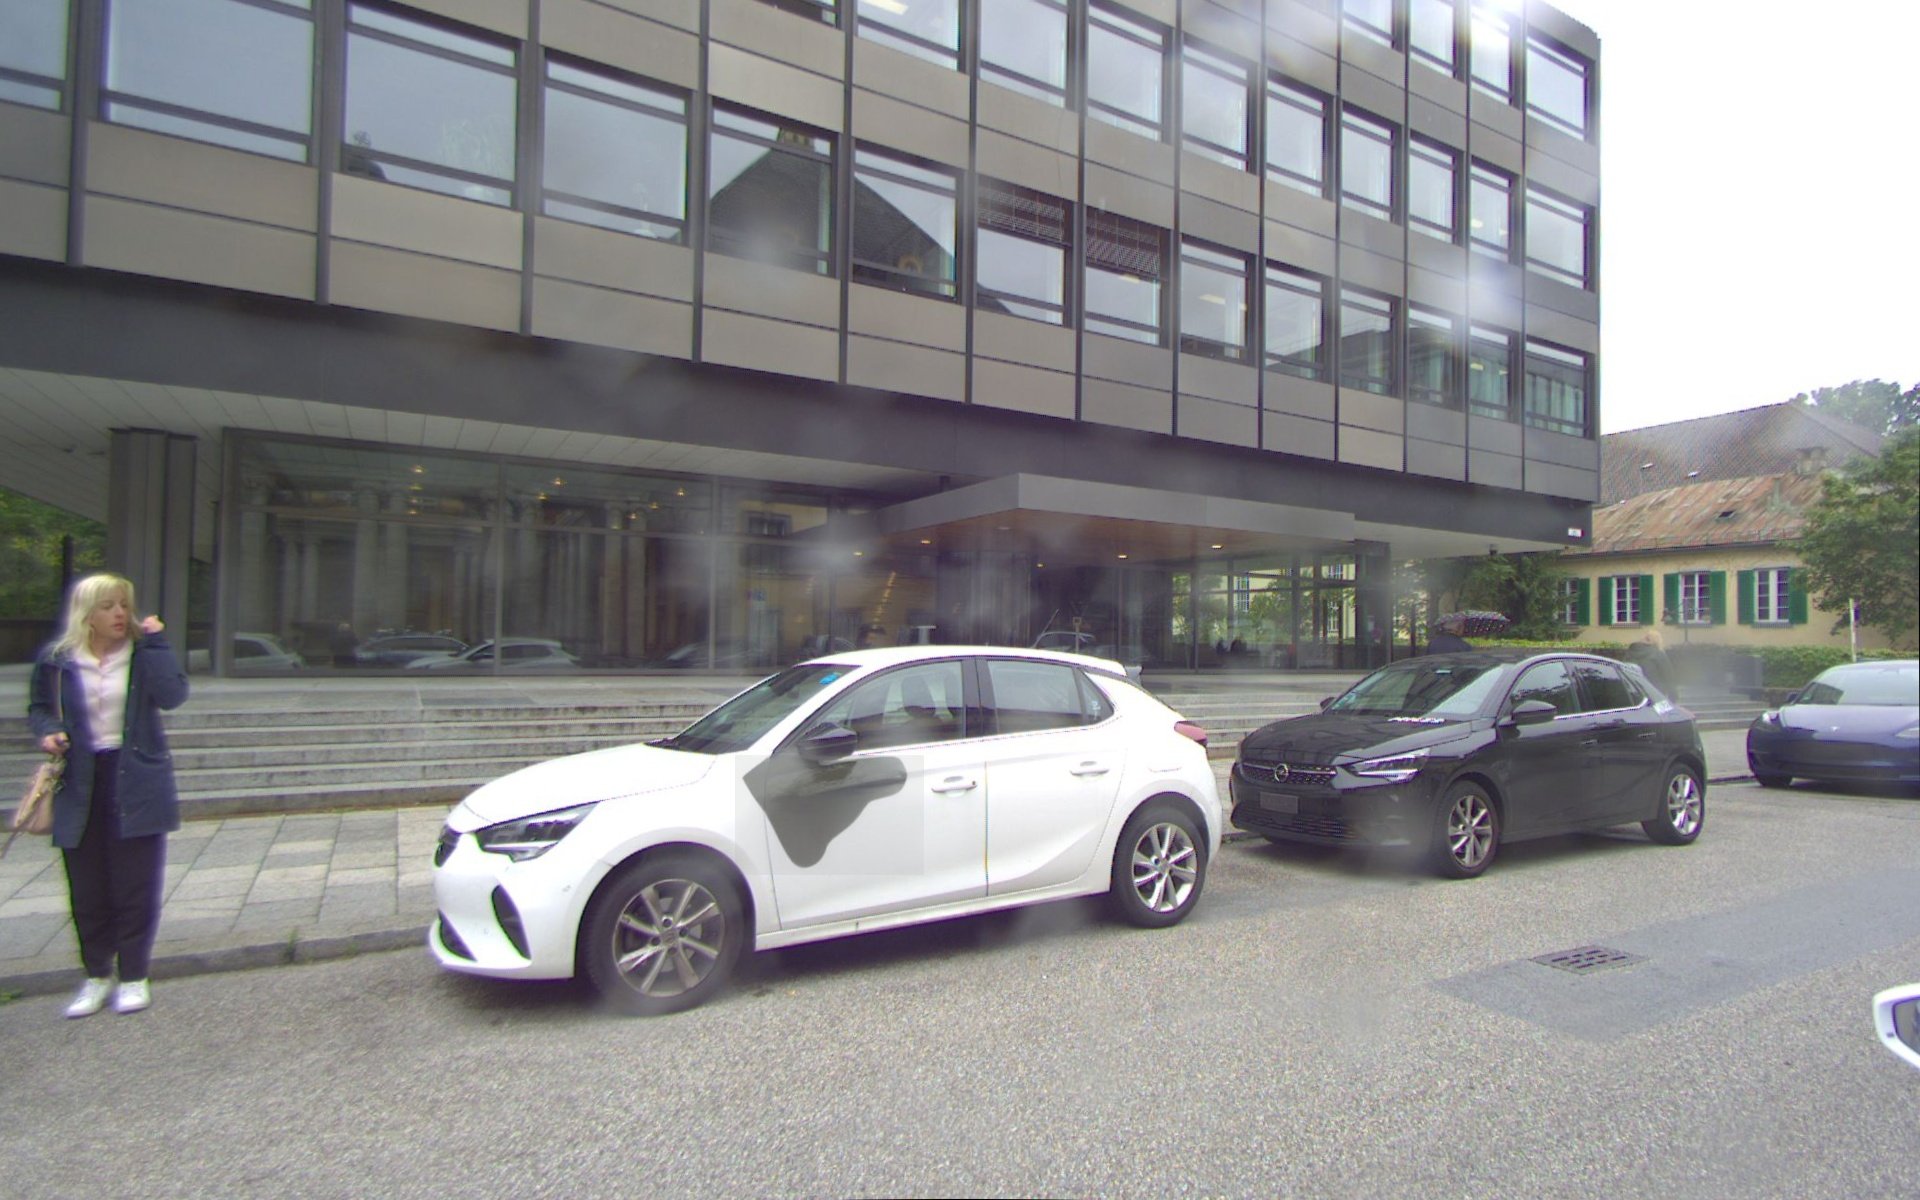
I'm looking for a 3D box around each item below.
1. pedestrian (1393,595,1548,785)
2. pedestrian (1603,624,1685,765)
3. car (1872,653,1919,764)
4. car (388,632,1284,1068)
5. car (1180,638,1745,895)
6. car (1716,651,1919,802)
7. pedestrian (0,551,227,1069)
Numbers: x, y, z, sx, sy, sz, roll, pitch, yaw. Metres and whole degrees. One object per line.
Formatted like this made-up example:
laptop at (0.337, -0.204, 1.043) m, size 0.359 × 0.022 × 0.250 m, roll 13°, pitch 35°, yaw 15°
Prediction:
pedestrian at (5.986, 1.005, 11.804) m, size 1.207 × 2.082 × 1.129 m, roll 2°, pitch -1°, yaw -30°
pedestrian at (8.999, 1.208, 13.211) m, size 0.745 × 1.772 × 0.947 m, roll -1°, pitch -2°, yaw 44°
car at (15.410, 1.523, 14.405) m, size 4.824 × 1.510 × 1.986 m, roll 2°, pitch -4°, yaw -29°
car at (-0.483, 0.971, 5.193) m, size 4.228 × 1.458 × 1.675 m, roll 2°, pitch -5°, yaw -29°
car at (3.862, 1.085, 7.615) m, size 4.184 × 1.480 × 1.733 m, roll 2°, pitch -5°, yaw -29°
car at (10.999, 1.365, 11.641) m, size 4.863 × 1.458 × 1.913 m, roll 3°, pitch -5°, yaw -32°
pedestrian at (-3.401, 0.748, 3.926) m, size 0.681 × 1.774 × 0.887 m, roll 1°, pitch -4°, yaw -27°
